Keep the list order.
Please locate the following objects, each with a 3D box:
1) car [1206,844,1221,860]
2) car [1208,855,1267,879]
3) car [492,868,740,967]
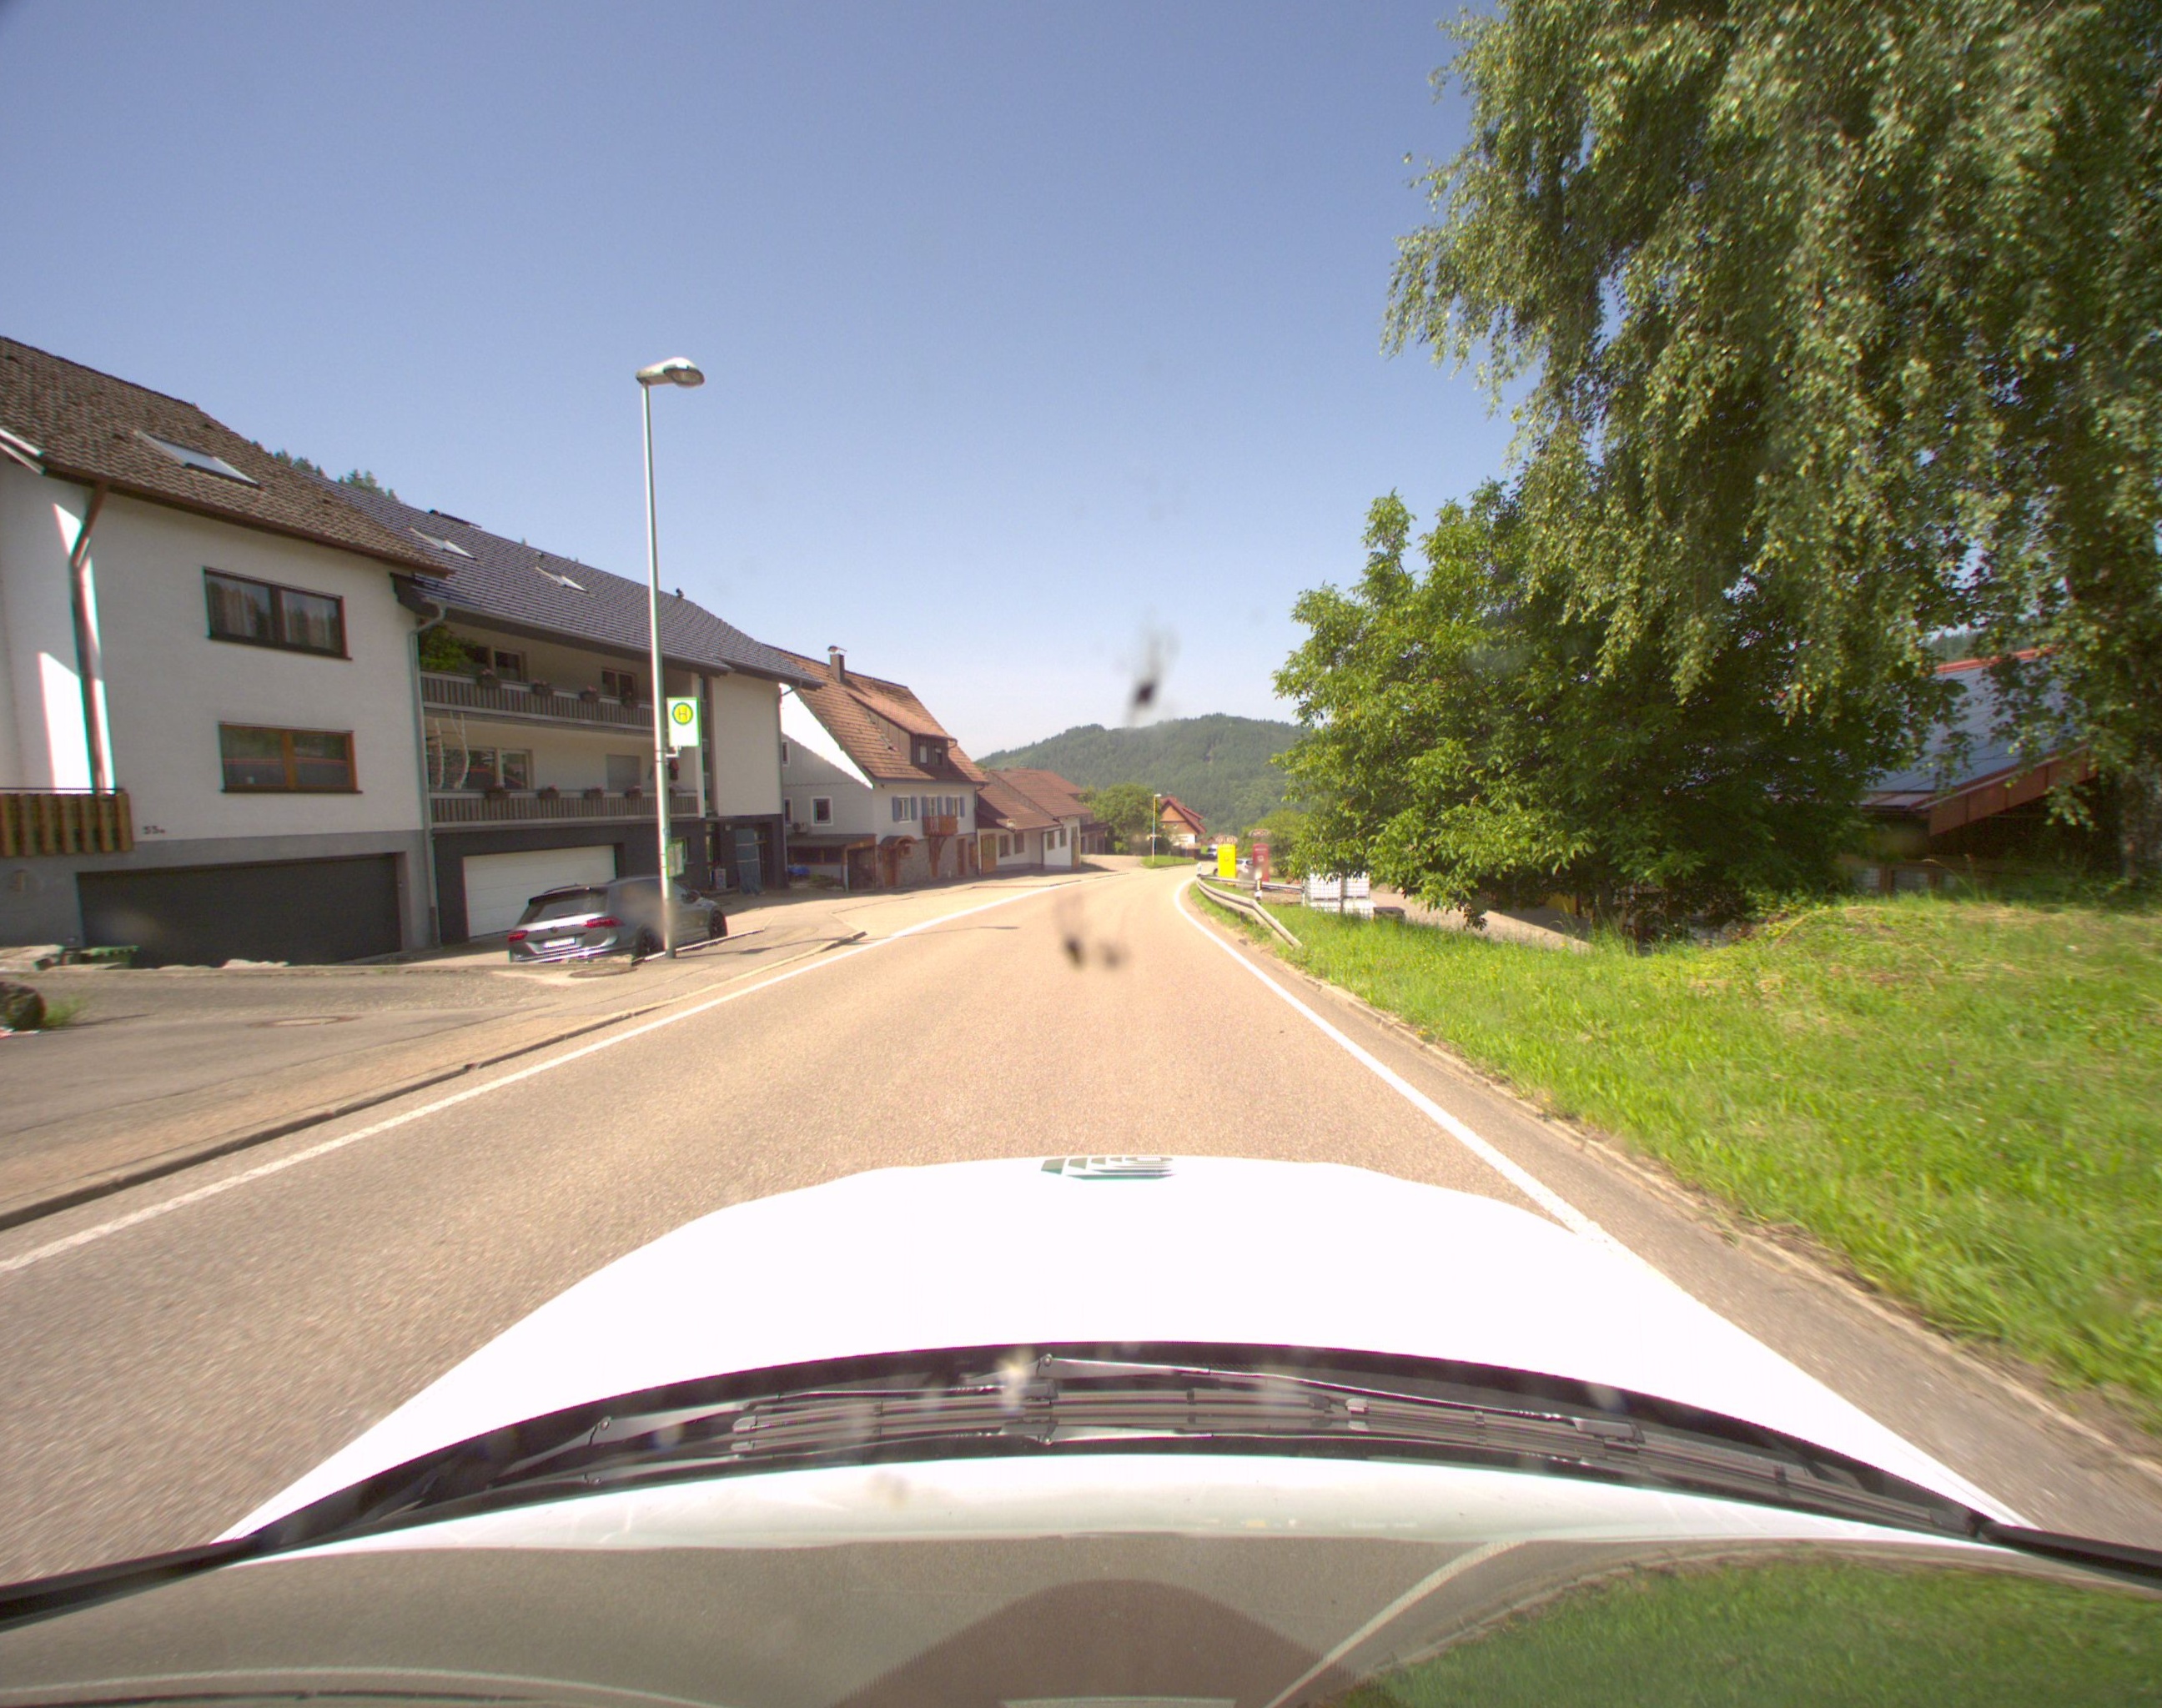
[{"bbox_3d":[26.212,-0.388,161.040,2.052,2.688,7.205,0,3,15],"label":"car"},{"bbox_3d":[11.511,0.943,60.195,1.911,1.571,4.421,2,1,-29],"label":"car"},{"bbox_3d":[-7.758,0.962,14.226,1.777,1.338,4.691,0,0,-2],"label":"car"}]
